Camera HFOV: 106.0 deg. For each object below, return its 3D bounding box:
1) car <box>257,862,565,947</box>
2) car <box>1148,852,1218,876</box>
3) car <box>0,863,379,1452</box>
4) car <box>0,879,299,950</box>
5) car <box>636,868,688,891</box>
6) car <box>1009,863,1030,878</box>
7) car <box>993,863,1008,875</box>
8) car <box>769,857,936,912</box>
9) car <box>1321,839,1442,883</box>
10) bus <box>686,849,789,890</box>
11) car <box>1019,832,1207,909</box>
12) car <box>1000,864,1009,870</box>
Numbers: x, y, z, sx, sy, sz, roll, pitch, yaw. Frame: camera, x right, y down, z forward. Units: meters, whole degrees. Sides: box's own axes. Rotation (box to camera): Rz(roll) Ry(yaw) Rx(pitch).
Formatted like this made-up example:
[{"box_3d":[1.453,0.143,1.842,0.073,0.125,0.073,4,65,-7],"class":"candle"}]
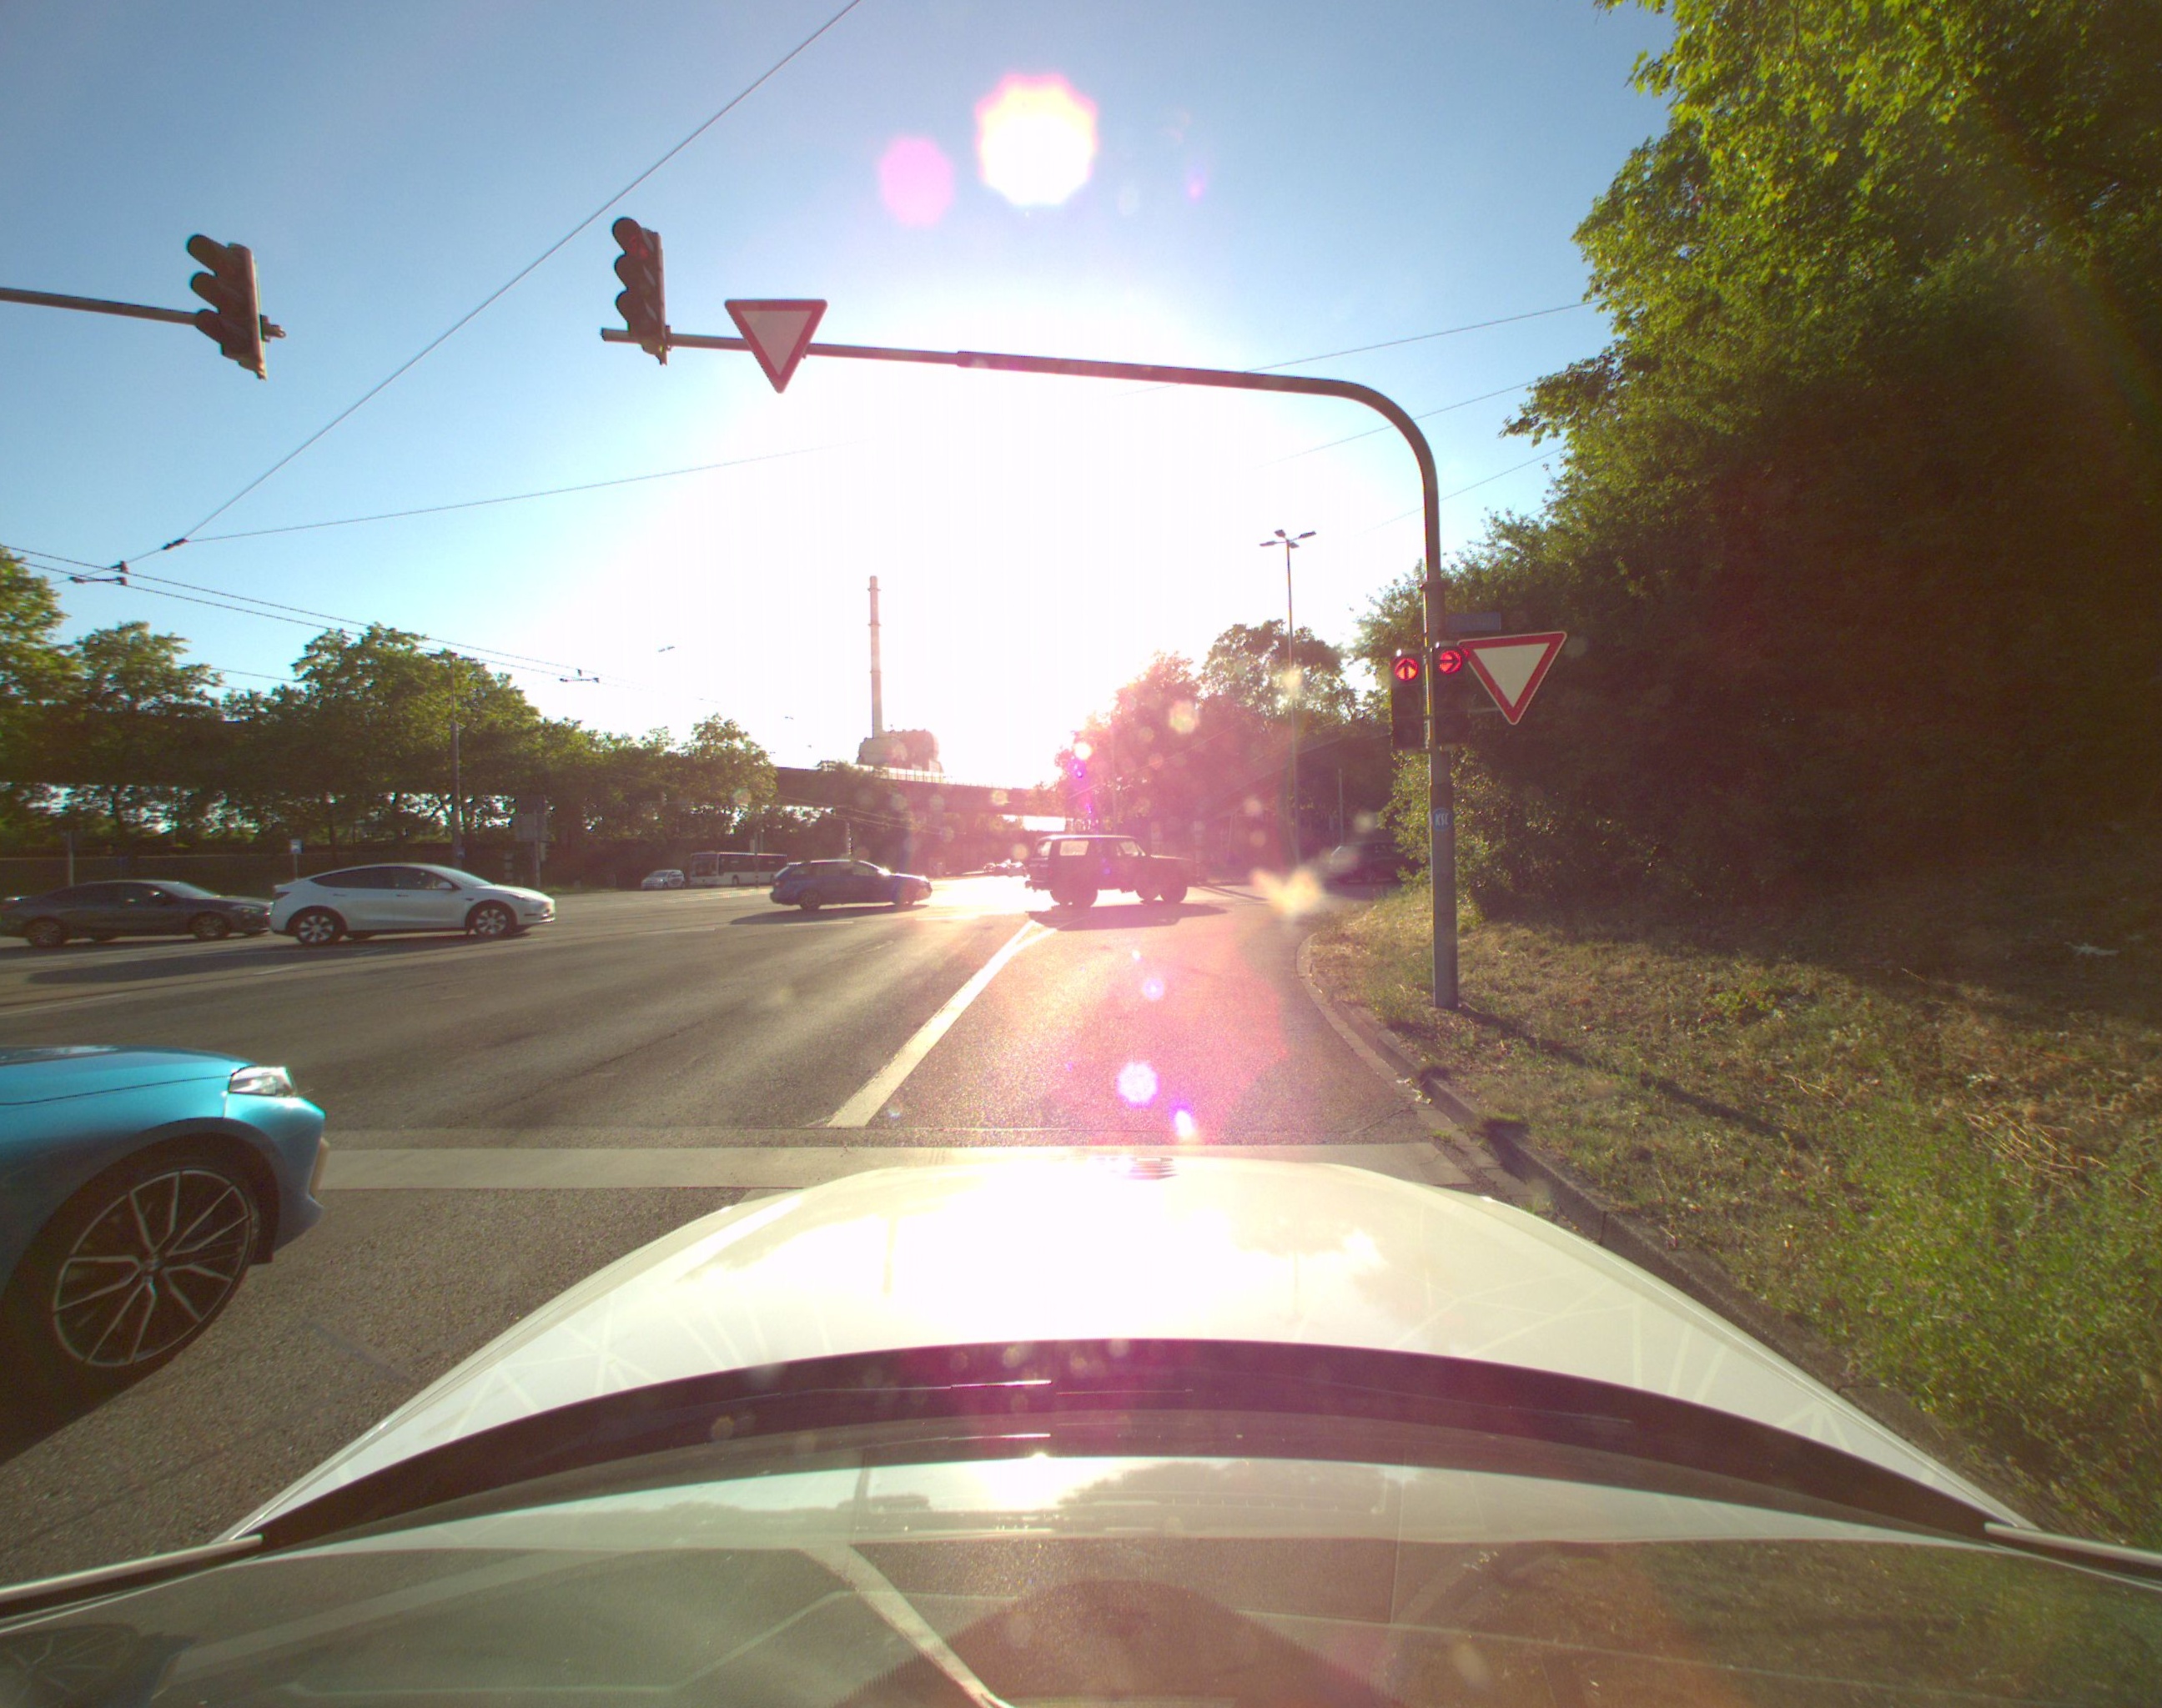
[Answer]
[{"box_3d":[-14.001,0.996,17.387,4.767,1.575,1.682,-1,0,-20],"class":"car"},{"box_3d":[7.107,0.666,56.988,4.585,1.575,1.685,-1,0,-16],"class":"car"},{"box_3d":[-3.567,0.795,1.042,1.709,1.466,4.205,-2,0,-1],"class":"car"},{"box_3d":[-21.514,1.341,18.919,4.494,1.369,1.681,-1,0,-21],"class":"car"},{"box_3d":[-30.136,1.836,58.698,1.601,1.512,4.007,-1,0,0],"class":"car"},{"box_3d":[-6.145,1.596,81.517,1.659,1.405,4.199,-1,0,2],"class":"car"},{"box_3d":[-9.781,1.836,98.934,1.661,1.405,4.439,-1,0,-3],"class":"car"},{"box_3d":[-6.785,0.863,24.285,4.625,1.459,1.682,-1,0,-19],"class":"car"},{"box_3d":[11.486,0.241,31.155,4.250,1.575,1.682,-1,0,-20],"class":"car"},{"box_3d":[-29.418,1.374,70.720,2.532,3.130,12.931,-2,-2,4],"class":"bus"},{"box_3d":[0.905,0.409,23.249,4.945,1.991,2.023,-1,0,-20],"class":"car"},{"box_3d":[-18.041,3.125,192.741,1.600,1.419,4.012,-1,0,3],"class":"car"}]
